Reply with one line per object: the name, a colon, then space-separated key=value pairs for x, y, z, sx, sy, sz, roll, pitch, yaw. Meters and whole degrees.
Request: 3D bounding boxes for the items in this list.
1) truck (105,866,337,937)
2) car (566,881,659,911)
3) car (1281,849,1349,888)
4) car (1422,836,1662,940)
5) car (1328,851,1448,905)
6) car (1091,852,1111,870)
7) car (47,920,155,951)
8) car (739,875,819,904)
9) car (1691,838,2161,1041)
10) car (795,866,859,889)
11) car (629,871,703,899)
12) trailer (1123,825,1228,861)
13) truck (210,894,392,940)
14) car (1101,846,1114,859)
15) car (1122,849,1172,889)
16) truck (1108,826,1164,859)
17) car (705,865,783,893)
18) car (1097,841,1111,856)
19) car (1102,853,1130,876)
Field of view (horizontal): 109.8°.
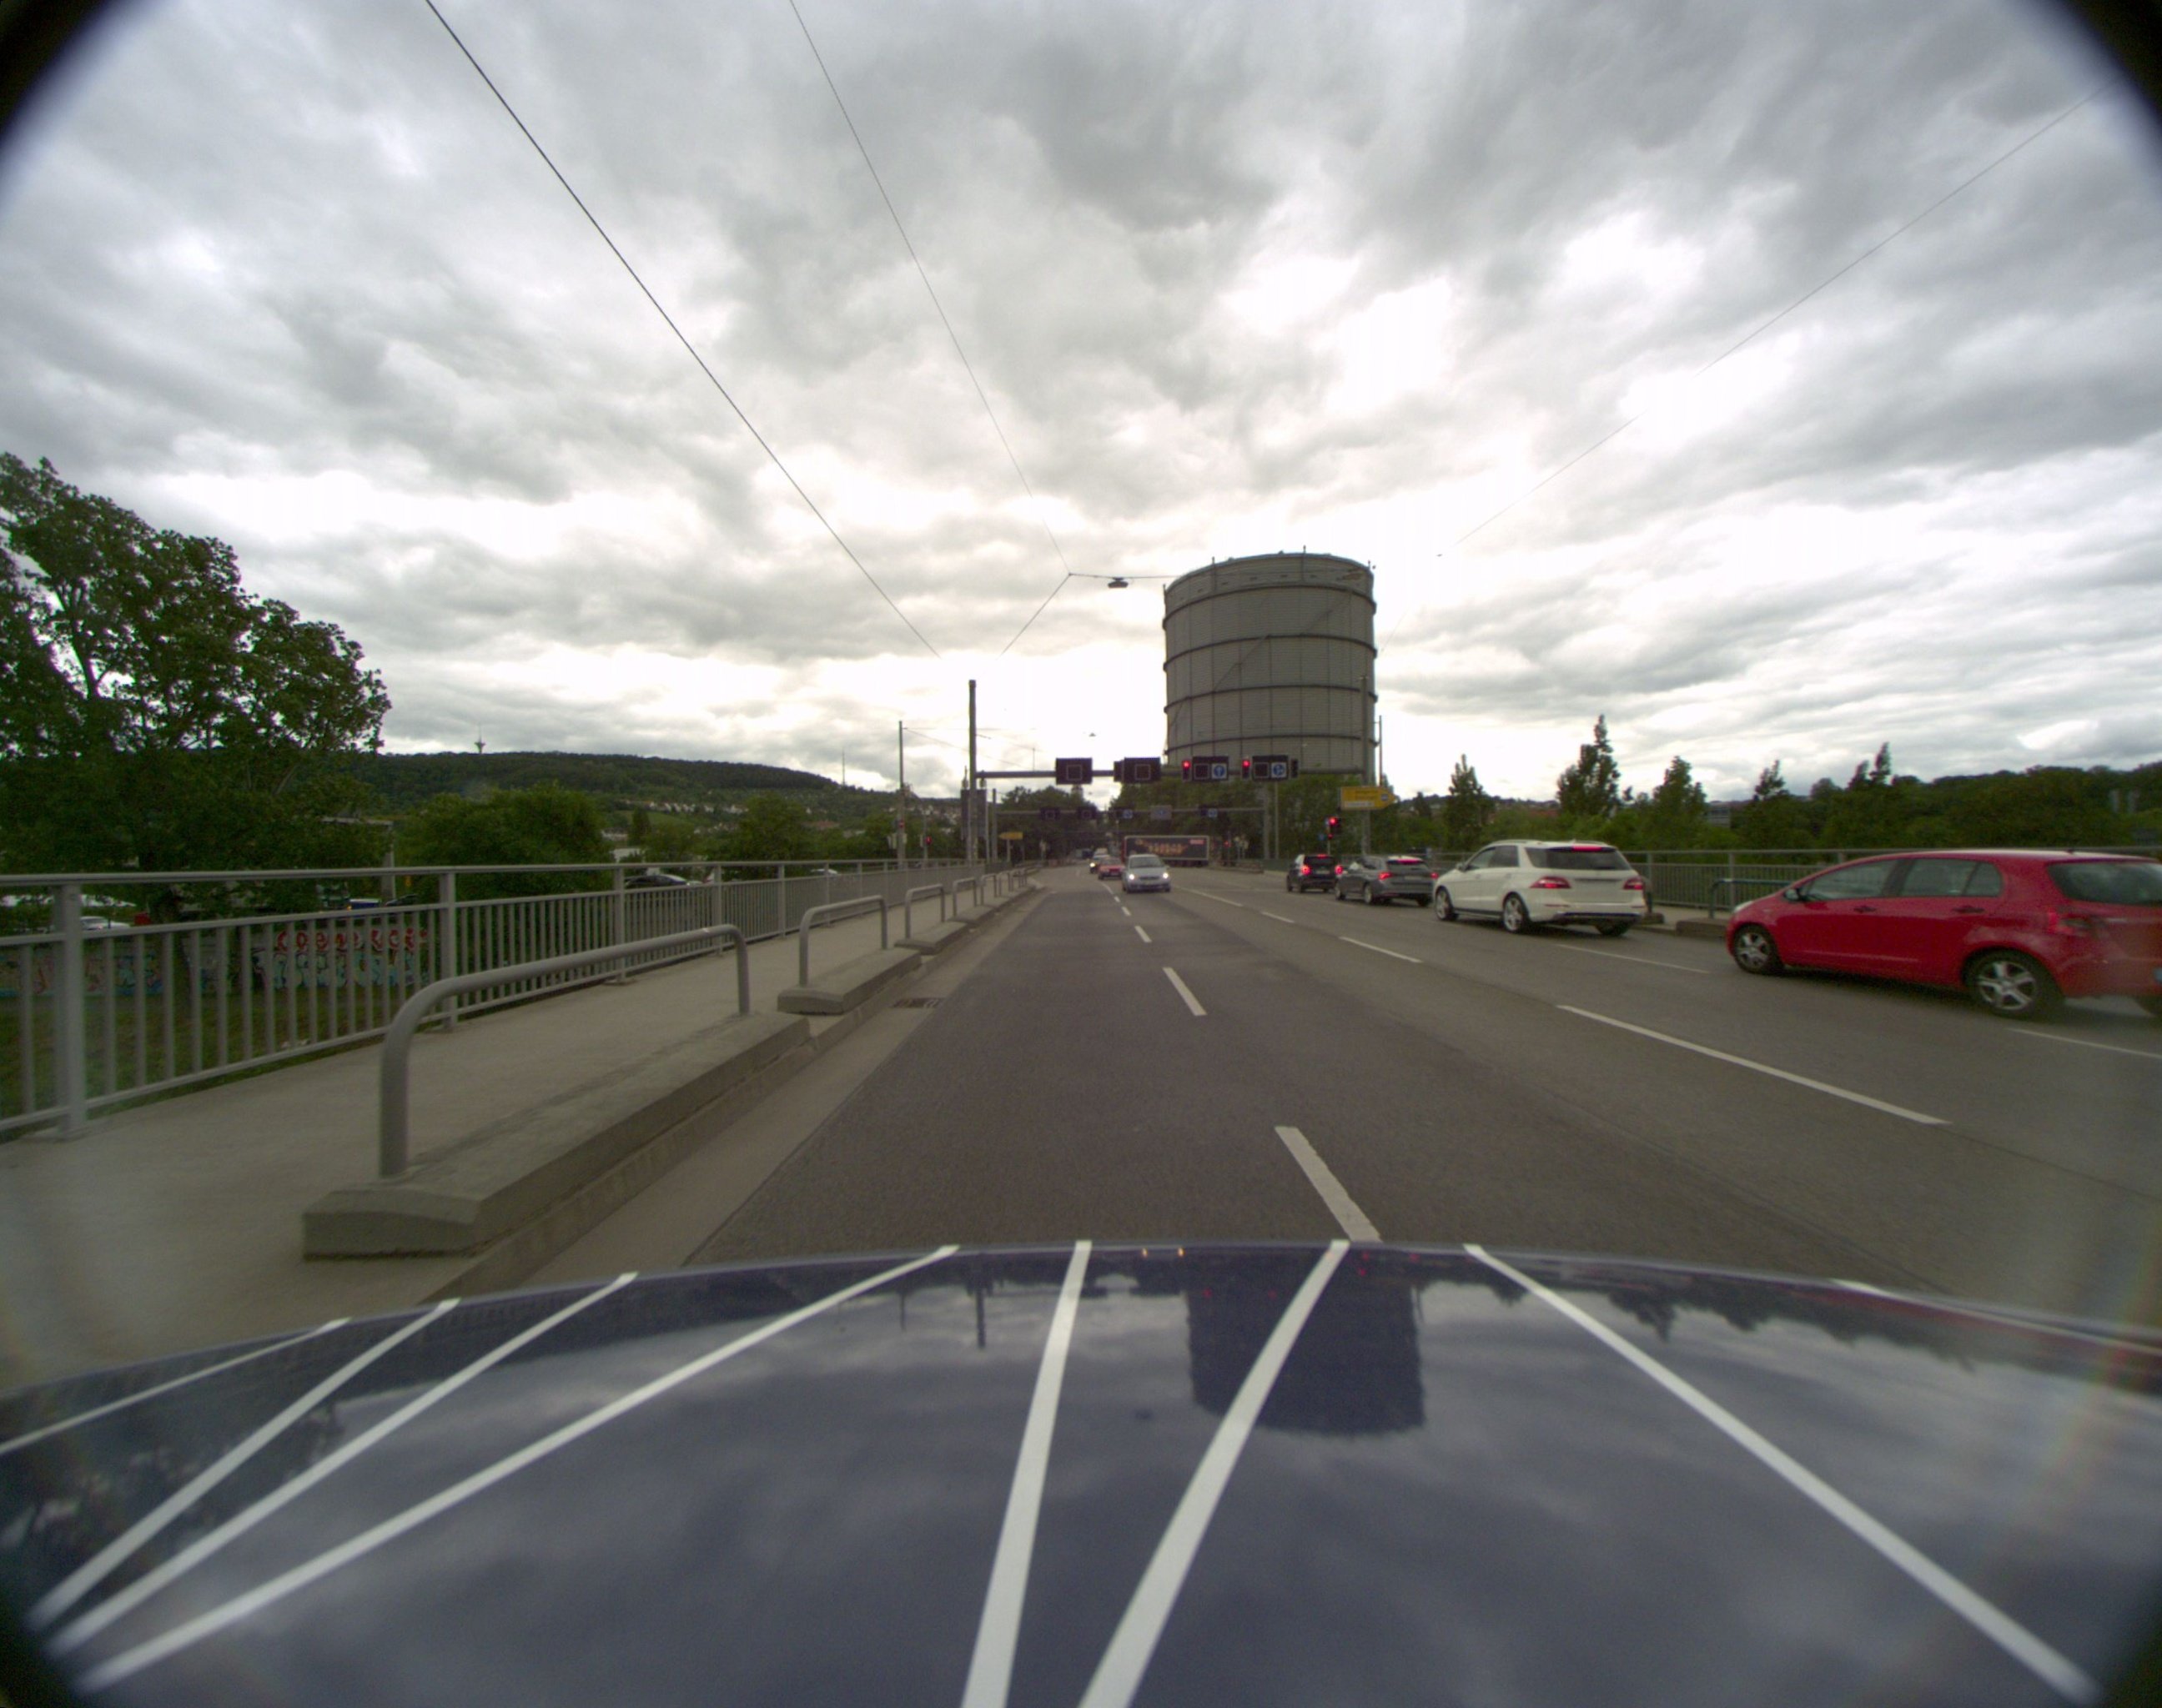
truck: x=-54.126 y=2.905 z=48.098 sx=10.423 sy=3.856 sz=3.226 roll=-2 pitch=0 yaw=-3
car: x=-31.591 y=2.837 z=51.333 sx=4.959 sy=1.610 sz=1.999 roll=-3 pitch=2 yaw=0
car: x=9.470 y=0.535 z=31.050 sx=1.839 sy=1.495 sz=3.872 roll=0 pitch=0 yaw=4
car: x=8.822 y=0.564 z=15.174 sx=1.884 sy=1.751 sz=4.802 roll=0 pitch=0 yaw=0
car: x=9.180 y=0.654 z=23.175 sx=1.840 sy=1.495 sz=4.516 roll=0 pitch=0 yaw=0
car: x=1.719 y=0.594 z=66.012 sx=1.696 sy=1.412 sz=4.468 roll=-1 pitch=0 yaw=1
car: x=-64.728 y=5.368 z=50.240 sx=4.390 sy=1.531 sz=1.921 roll=-3 pitch=1 yaw=-1
car: x=-18.485 y=2.159 z=46.622 sx=4.151 sy=1.413 sz=1.695 roll=-3 pitch=2 yaw=-2
car: x=8.954 y=0.666 z=7.969 sx=1.884 sy=1.593 sz=4.015 roll=0 pitch=0 yaw=0
car: x=-17.553 y=1.591 z=52.602 sx=3.762 sy=1.306 sz=1.790 roll=-3 pitch=2 yaw=-1
car: x=-26.834 y=2.017 z=49.245 sx=3.757 sy=1.531 sz=1.695 roll=-3 pitch=1 yaw=-1
trailer: x=11.995 y=-1.435 z=98.242 sx=13.739 sy=4.296 sz=3.680 roll=2 pitch=0 yaw=43
truck: x=-77.198 y=6.198 z=75.415 sx=14.418 sy=3.893 sz=3.381 roll=1 pitch=0 yaw=0
car: x=4.146 y=-0.233 z=120.207 sx=1.933 sy=1.987 sz=4.453 roll=0 pitch=0 yaw=1
car: x=2.698 y=0.591 z=31.867 sx=1.747 sy=1.594 sz=3.682 roll=0 pitch=0 yaw=-1
truck: x=7.336 y=-1.562 z=102.889 sx=3.679 sy=4.296 sz=7.215 roll=2 pitch=0 yaw=-36
car: x=-23.053 y=1.688 z=52.106 sx=4.339 sy=1.610 sz=1.999 roll=-3 pitch=2 yaw=0
car: x=4.024 y=-1.000 z=132.160 sx=2.331 sy=2.509 sz=4.948 roll=1 pitch=0 yaw=1
car: x=2.256 y=0.661 z=49.793 sx=1.747 sy=1.455 sz=3.955 roll=0 pitch=0 yaw=1
